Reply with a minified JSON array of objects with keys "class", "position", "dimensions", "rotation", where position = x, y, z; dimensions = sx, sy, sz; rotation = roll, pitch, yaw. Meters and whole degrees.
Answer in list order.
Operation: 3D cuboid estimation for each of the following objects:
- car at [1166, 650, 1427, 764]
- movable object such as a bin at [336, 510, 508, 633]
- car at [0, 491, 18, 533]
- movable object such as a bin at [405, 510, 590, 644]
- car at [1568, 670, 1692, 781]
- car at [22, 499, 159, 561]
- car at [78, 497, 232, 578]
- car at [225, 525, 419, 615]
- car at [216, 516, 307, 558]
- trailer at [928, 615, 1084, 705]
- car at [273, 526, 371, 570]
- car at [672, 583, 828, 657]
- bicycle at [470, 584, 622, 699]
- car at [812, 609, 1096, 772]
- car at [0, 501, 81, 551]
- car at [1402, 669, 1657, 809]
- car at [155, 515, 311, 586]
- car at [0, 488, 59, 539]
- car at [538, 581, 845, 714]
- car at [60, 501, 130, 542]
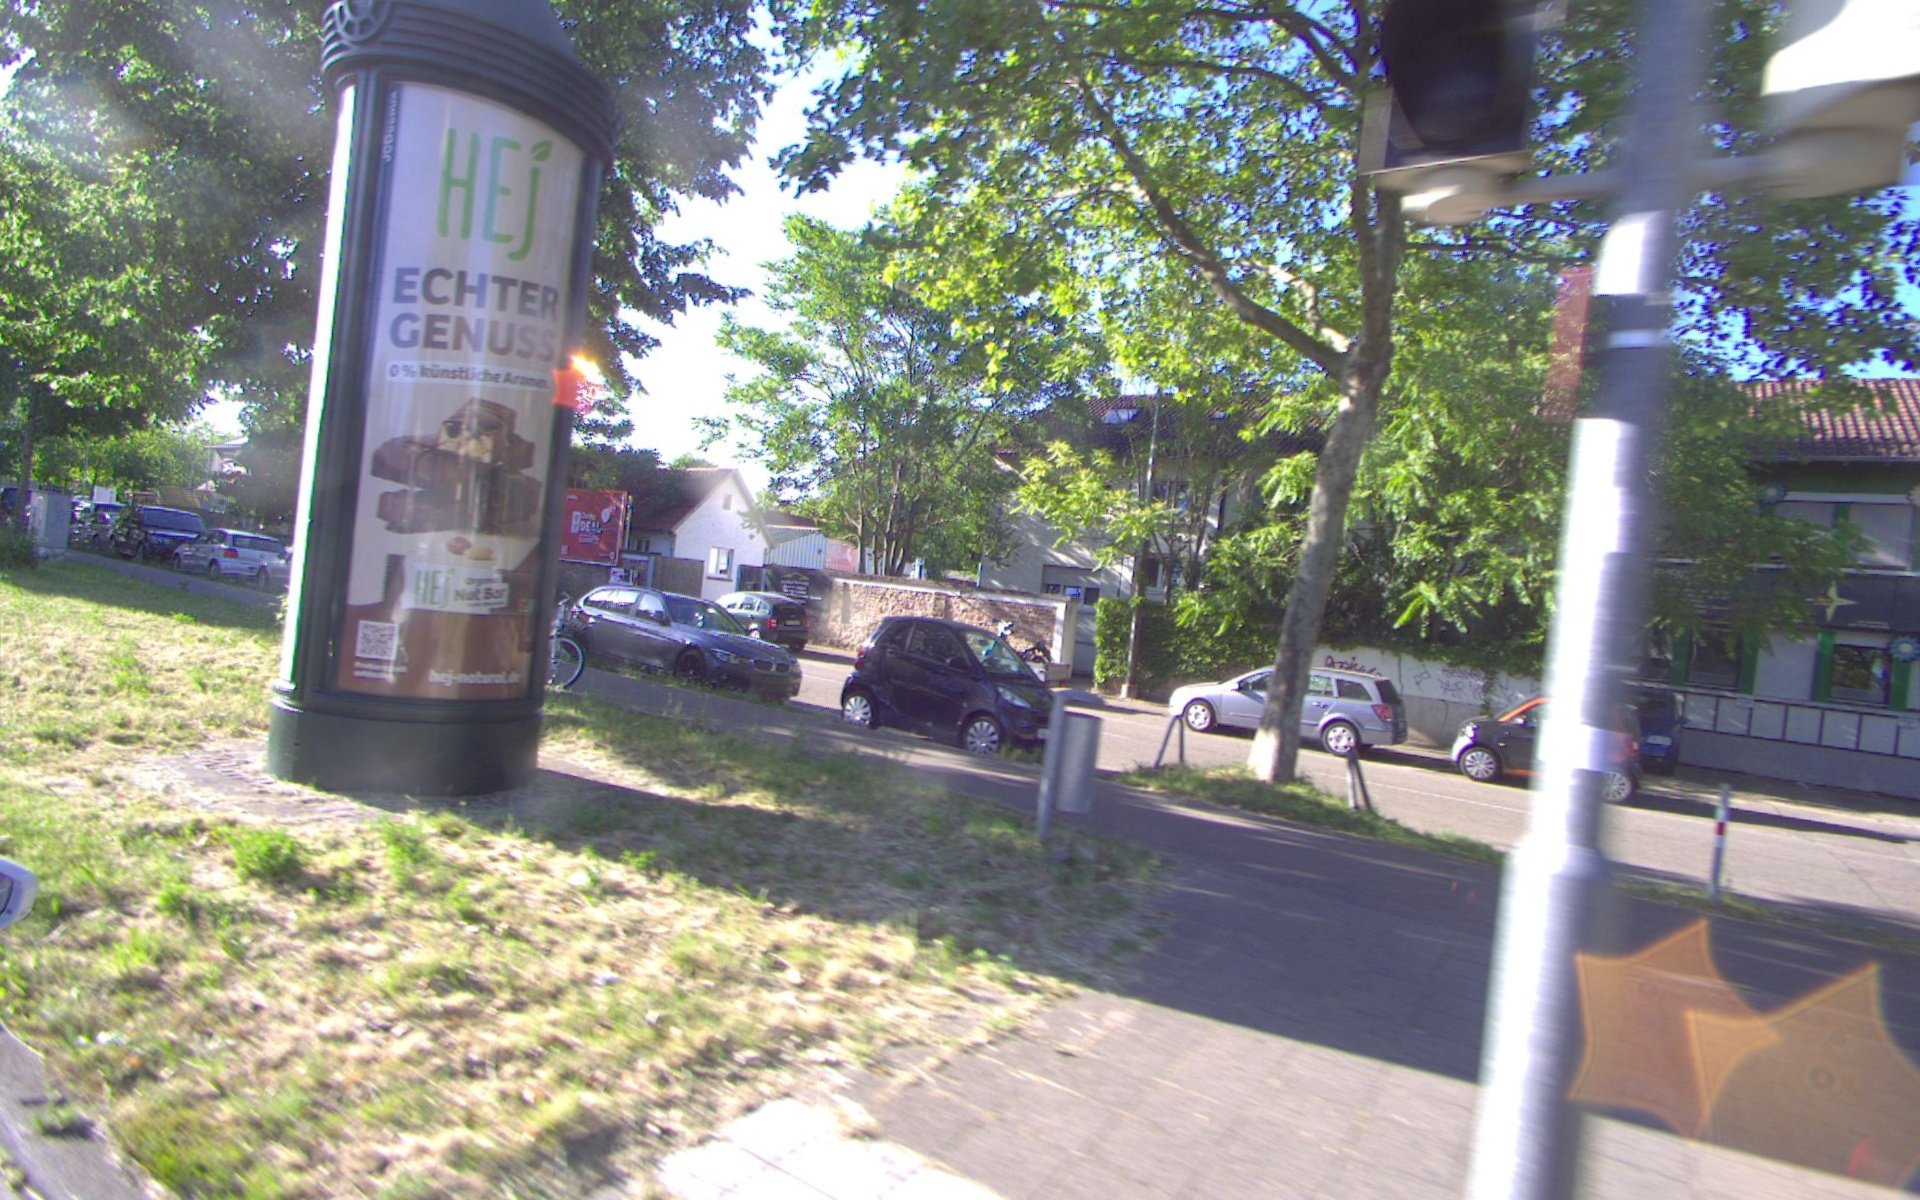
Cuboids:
[{"class":"car","position":[6.393,1.956,19.272],"dimensions":[4.257,1.502,1.993],"rotation":[6,1,36]},{"class":"movable object such as a bin","position":[-10.569,-0.546,19.803],"dimensions":[2.103,2.036,2.084],"rotation":[6,-2,35]},{"class":"car","position":[-42.614,-3.990,43.491],"dimensions":[3.938,1.703,1.873],"rotation":[6,-2,35]},{"class":"movable object such as a bin","position":[-8.351,-0.403,18.226],"dimensions":[2.103,2.036,2.084],"rotation":[6,-2,35]},{"class":"car","position":[13.928,2.607,21.111],"dimensions":[1.819,1.871,4.091],"rotation":[6,-3,32]},{"class":"car","position":[-28.258,-2.290,32.654],"dimensions":[4.821,1.450,1.875],"rotation":[6,-2,32]},{"class":"car","position":[-23.738,-1.853,29.630],"dimensions":[4.812,1.841,1.875],"rotation":[6,-2,32]},{"class":"car","position":[-15.034,-0.734,23.627],"dimensions":[4.975,1.541,1.874],"rotation":[6,-3,34]},{"class":"car","position":[-33.012,-2.994,47.503],"dimensions":[4.615,1.566,1.872],"rotation":[6,0,33]},{"class":"trailer","position":[1.038,1.339,22.909],"dimensions":[2.976,1.661,1.729],"rotation":[6,1,36]},{"class":"car","position":[-28.224,-2.305,44.451],"dimensions":[4.615,1.502,1.871],"rotation":[6,1,33]},{"class":"car","position":[-5.886,0.537,28.134],"dimensions":[3.935,1.661,1.993],"rotation":[6,2,33]},{"class":"bicycle","position":[-4.659,0.449,11.262],"dimensions":[1.873,1.058,0.493],"rotation":[6,-2,33]},{"class":"car","position":[-0.091,1.076,12.379],"dimensions":[2.942,1.517,1.664],"rotation":[6,-2,34]},{"class":"car","position":[-33.988,-2.742,36.553],"dimensions":[3.934,1.383,1.875],"rotation":[6,-3,32]},{"class":"car","position":[9.504,2.228,16.954],"dimensions":[3.422,1.629,1.993],"rotation":[6,3,31]},{"class":"car","position":[-19.323,-1.323,26.710],"dimensions":[3.934,1.405,1.875],"rotation":[6,-2,32]},{"class":"car","position":[-37.770,-3.506,39.877],"dimensions":[3.934,1.703,1.875],"rotation":[6,-2,32]},{"class":"car","position":[-4.209,0.685,15.416],"dimensions":[4.673,1.400,2.001],"rotation":[6,-3,37]},{"class":"car","position":[-51.997,-4.714,60.456],"dimensions":[3.934,2.039,1.995],"rotation":[6,0,32]}]
